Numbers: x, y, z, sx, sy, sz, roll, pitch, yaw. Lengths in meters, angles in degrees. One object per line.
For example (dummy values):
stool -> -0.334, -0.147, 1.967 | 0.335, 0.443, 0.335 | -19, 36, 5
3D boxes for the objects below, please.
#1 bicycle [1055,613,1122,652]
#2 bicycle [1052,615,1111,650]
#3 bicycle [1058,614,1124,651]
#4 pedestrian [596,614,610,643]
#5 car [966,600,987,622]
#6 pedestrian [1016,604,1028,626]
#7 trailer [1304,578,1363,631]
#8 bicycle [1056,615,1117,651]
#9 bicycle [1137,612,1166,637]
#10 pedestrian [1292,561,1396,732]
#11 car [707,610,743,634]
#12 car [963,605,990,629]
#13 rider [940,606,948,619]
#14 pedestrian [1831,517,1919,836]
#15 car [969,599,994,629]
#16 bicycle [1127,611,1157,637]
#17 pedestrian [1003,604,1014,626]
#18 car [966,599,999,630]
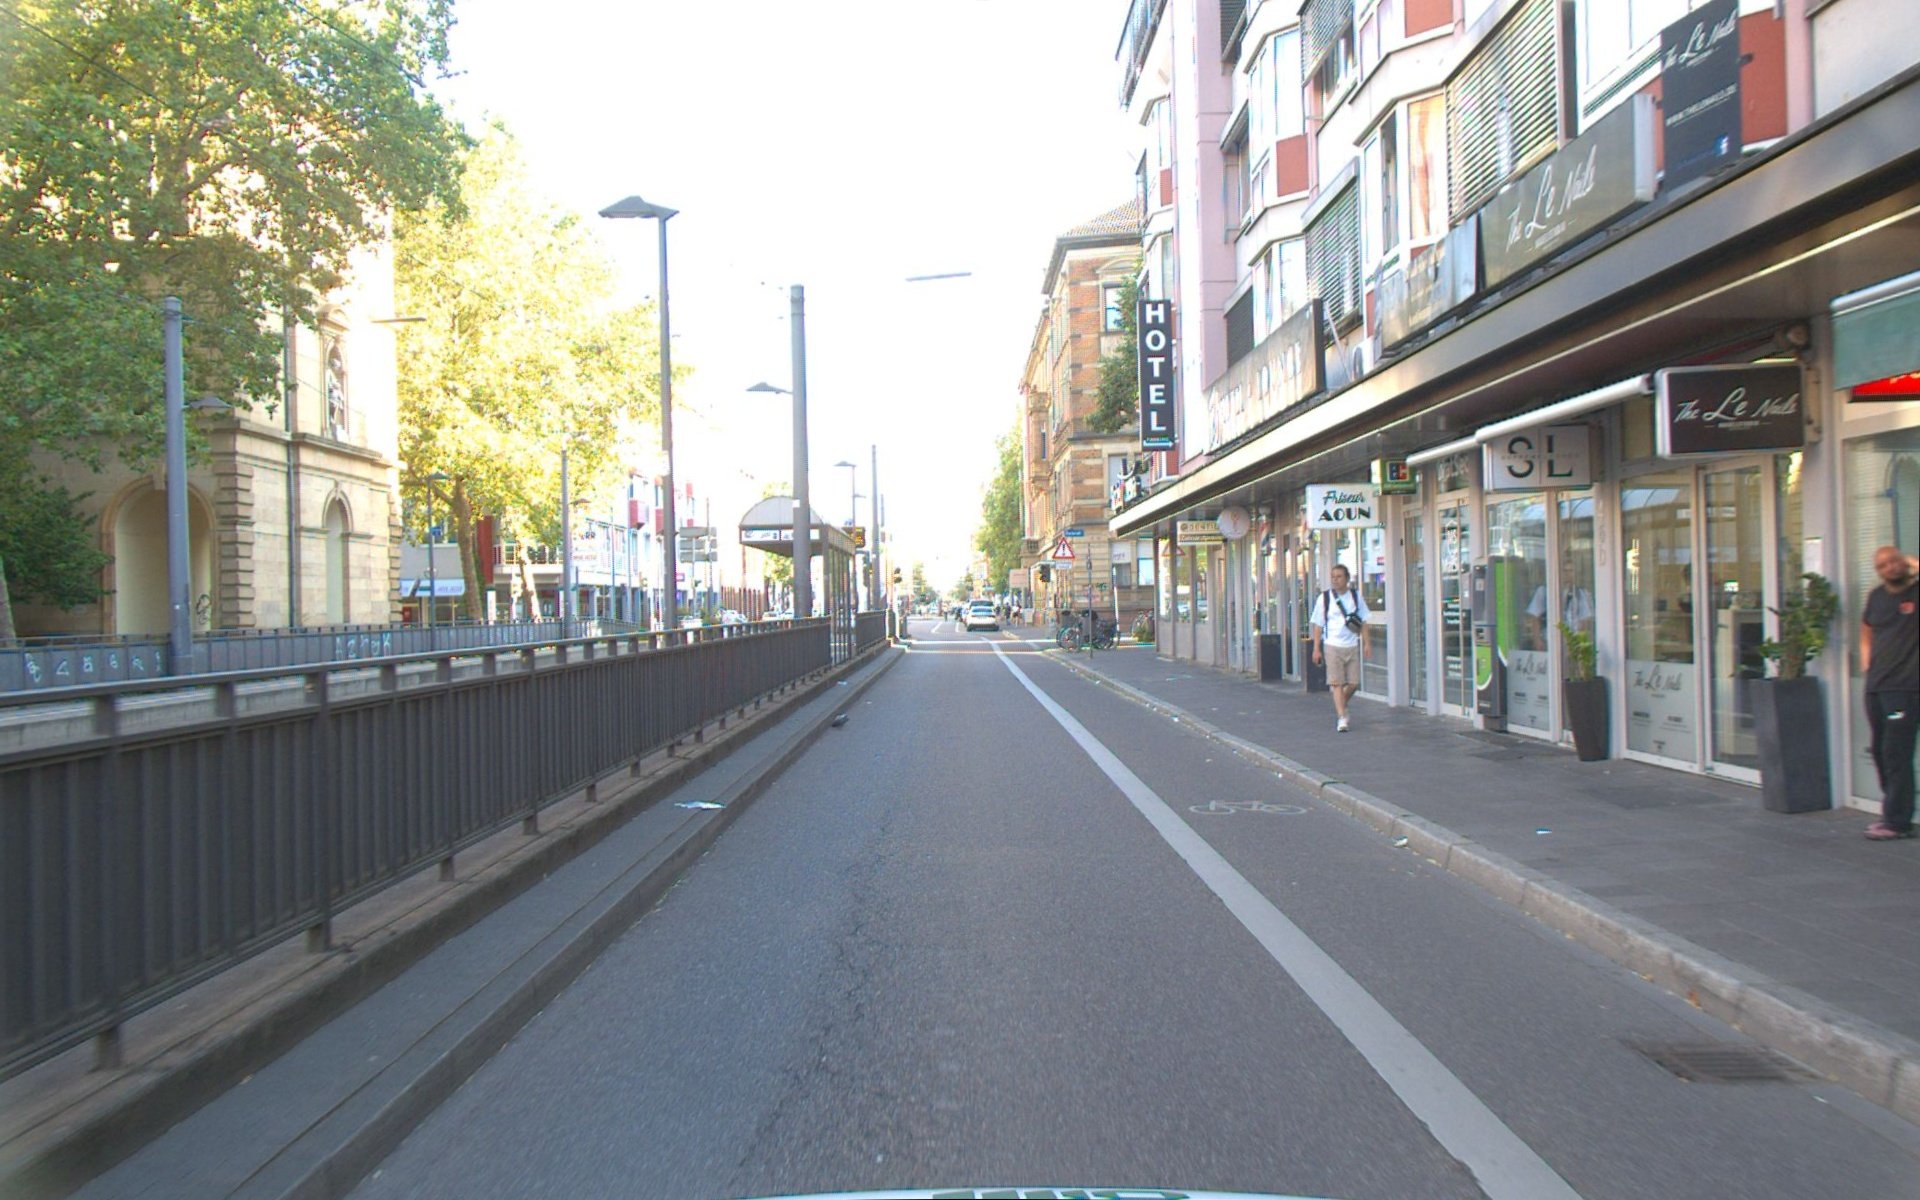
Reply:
bicycle -> 3.898, 0.975, 50.145 | 1.931, 1.124, 0.614 | -2, 0, -4
bicycle -> 3.855, 1.015, 52.548 | 1.797, 1.072, 0.710 | -1, 0, -4
bicycle -> 3.920, 0.967, 49.489 | 1.875, 1.066, 0.680 | -1, 0, -4
pedestrian -> -21.904, 1.755, 101.582 | 0.728, 1.742, 0.615 | -1, 0, -4
car -> 1.564, 1.046, 157.705 | 1.930, 2.049, 4.558 | -2, -1, 1
pedestrian -> 4.744, 1.162, 127.168 | 0.760, 1.594, 0.914 | -4, -1, 1
trailer -> 13.441, 0.194, 59.456 | 1.925, 1.762, 3.936 | -2, -1, 13
bicycle -> 3.885, 1.002, 50.874 | 1.797, 1.072, 0.717 | -1, 0, -4
bicycle -> 7.853, 0.999, 67.876 | 0.410, 1.042, 1.897 | -1, 0, -19
pedestrian -> 4.159, 0.498, 17.995 | 0.782, 1.752, 1.061 | -4, -1, 1
car -> -17.498, 1.685, 123.456 | 2.048, 1.743, 4.817 | 0, -2, -1
car -> 1.251, 1.301, 128.050 | 1.910, 1.819, 5.179 | 1, -1, -1
rider -> -1.869, 1.459, 191.363 | 0.865, 1.507, 0.713 | 1, -1, 1
pedestrian -> 5.248, 0.406, 9.142 | 0.531, 1.702, 0.468 | -2, -1, -9
car -> 1.601, 1.078, 122.675 | 1.670, 2.157, 3.707 | 0, -1, 2
bicycle -> 7.451, 0.988, 67.874 | 0.444, 1.042, 1.897 | -1, 0, -19
pedestrian -> 3.724, 1.137, 127.249 | 0.760, 1.594, 0.914 | -4, -1, 1
car -> 1.342, 0.883, 99.856 | 1.926, 1.803, 4.875 | 0, -1, 1
